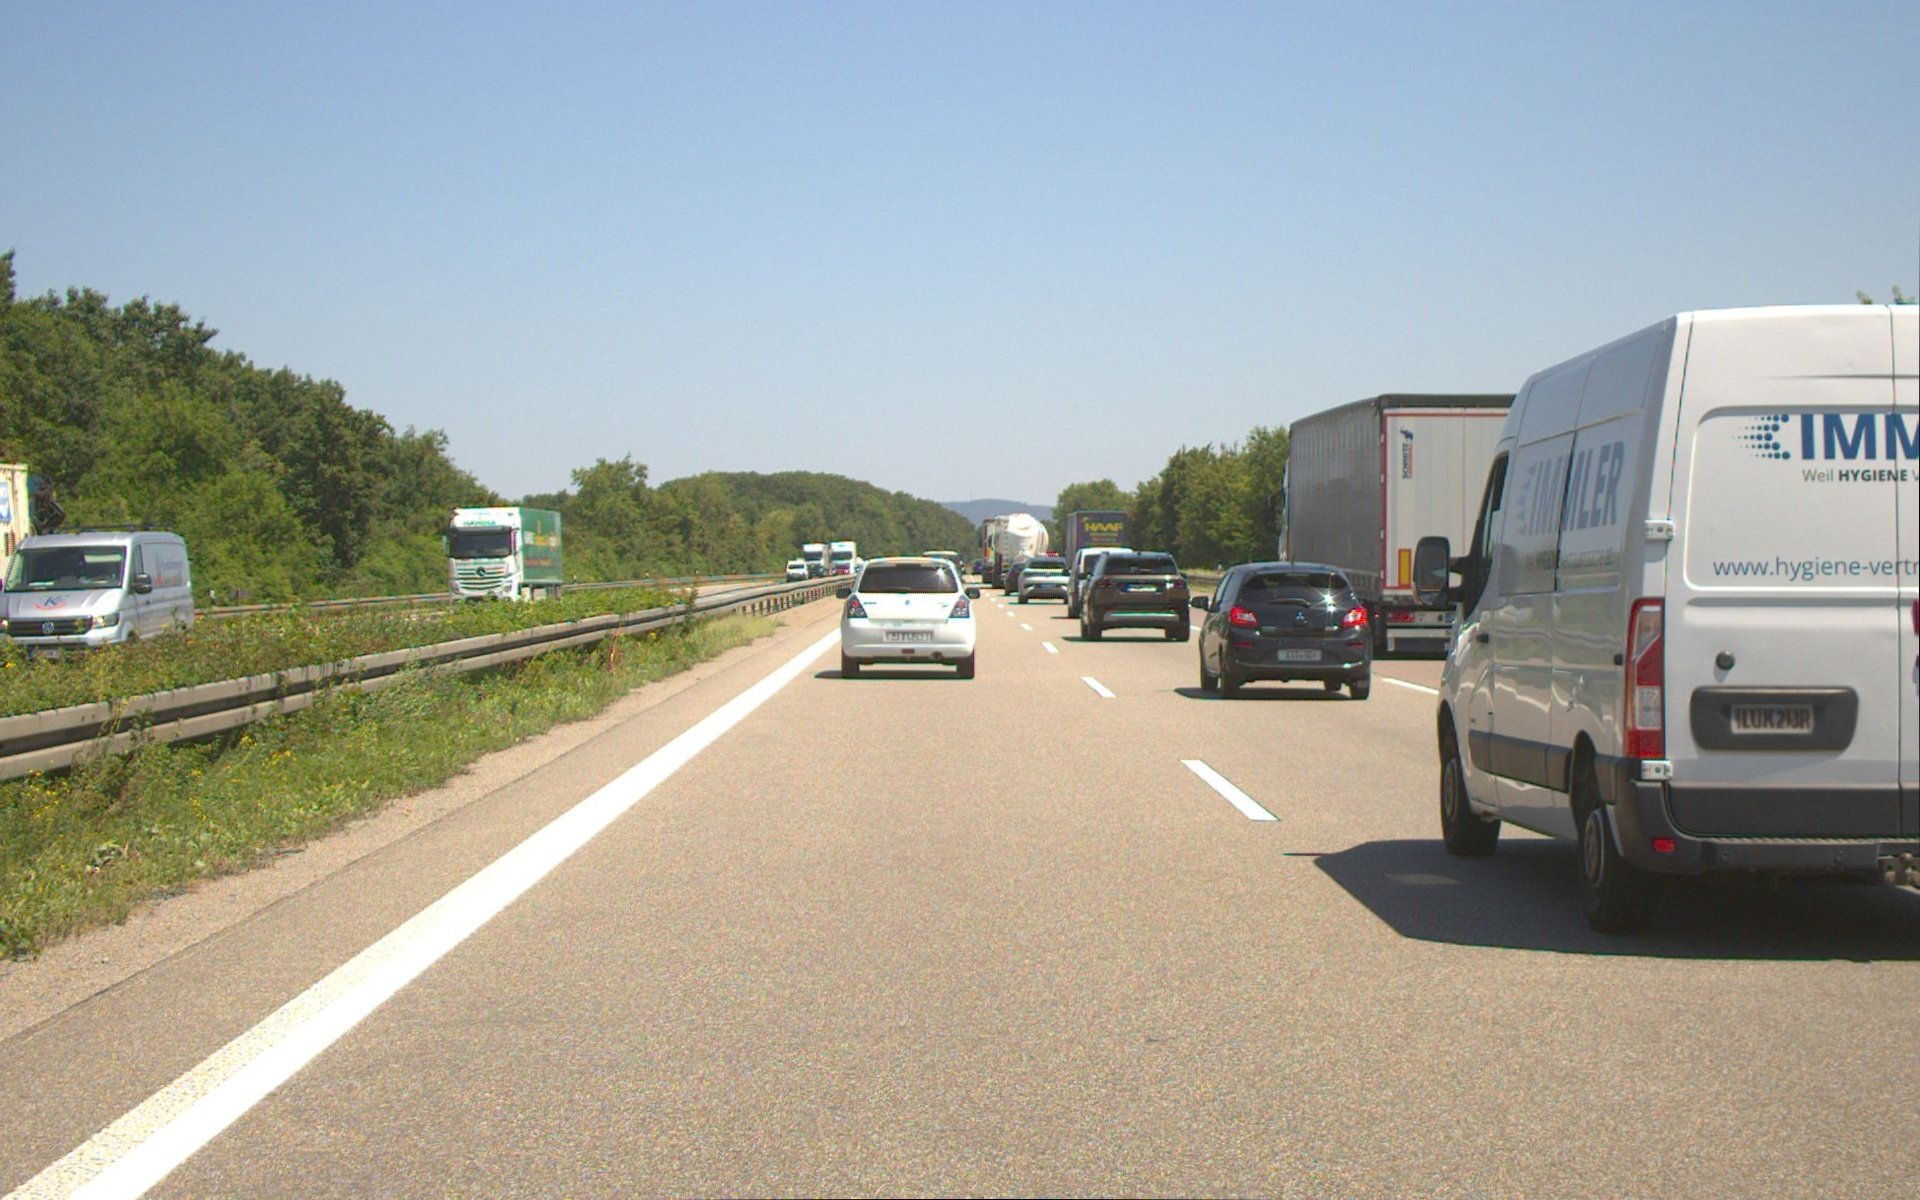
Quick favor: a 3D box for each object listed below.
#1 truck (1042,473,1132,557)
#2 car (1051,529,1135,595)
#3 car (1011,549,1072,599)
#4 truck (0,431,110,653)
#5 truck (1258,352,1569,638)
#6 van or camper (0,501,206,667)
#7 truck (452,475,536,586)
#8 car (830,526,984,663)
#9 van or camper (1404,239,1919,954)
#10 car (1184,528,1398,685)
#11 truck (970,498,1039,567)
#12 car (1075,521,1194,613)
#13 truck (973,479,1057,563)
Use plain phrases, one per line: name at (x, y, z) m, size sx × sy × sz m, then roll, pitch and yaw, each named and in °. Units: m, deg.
truck at (6.687, -4.527, 184.409) m, size 3.257 × 4.194 × 16.846 m, roll 1°, pitch 1°, yaw -3°
car at (3.406, -0.997, 88.732) m, size 1.857 × 1.646 × 4.001 m, roll 0°, pitch 1°, yaw -2°
car at (2.775, -0.922, 117.961) m, size 1.857 × 1.646 × 4.001 m, roll 0°, pitch 1°, yaw -2°
truck at (-17.544, -1.000, 60.633) m, size 2.605 × 3.748 × 9.866 m, roll -2°, pitch 1°, yaw 0°
truck at (7.492, -1.732, 59.677) m, size 3.079 × 4.194 × 16.844 m, roll 1°, pitch 1°, yaw 0°
van or camper at (-13.290, -0.294, 52.788) m, size 2.058 × 2.345 × 6.076 m, roll -2°, pitch 1°, yaw 0°
truck at (-17.563, -2.643, 129.802) m, size 2.417 × 4.079 × 5.881 m, roll 0°, pitch 1°, yaw 0°
car at (-0.717, -0.108, 44.141) m, size 1.857 × 1.646 × 4.001 m, roll 1°, pitch 1°, yaw -2°
van or camper at (3.463, -0.072, 15.590) m, size 2.058 × 2.613 × 5.986 m, roll 0°, pitch 1°, yaw -1°
car at (3.630, 0.029, 38.379) m, size 1.857 × 1.646 × 4.001 m, roll 0°, pitch 1°, yaw -2°
truck at (2.795, -4.359, 221.235) m, size 3.257 × 4.194 × 16.846 m, roll 1°, pitch 1°, yaw -3°
car at (3.219, -0.642, 64.016) m, size 1.857 × 1.646 × 4.001 m, roll 0°, pitch 1°, yaw -2°
truck at (2.828, -4.191, 182.732) m, size 3.257 × 4.194 × 16.846 m, roll 1°, pitch 1°, yaw -3°
